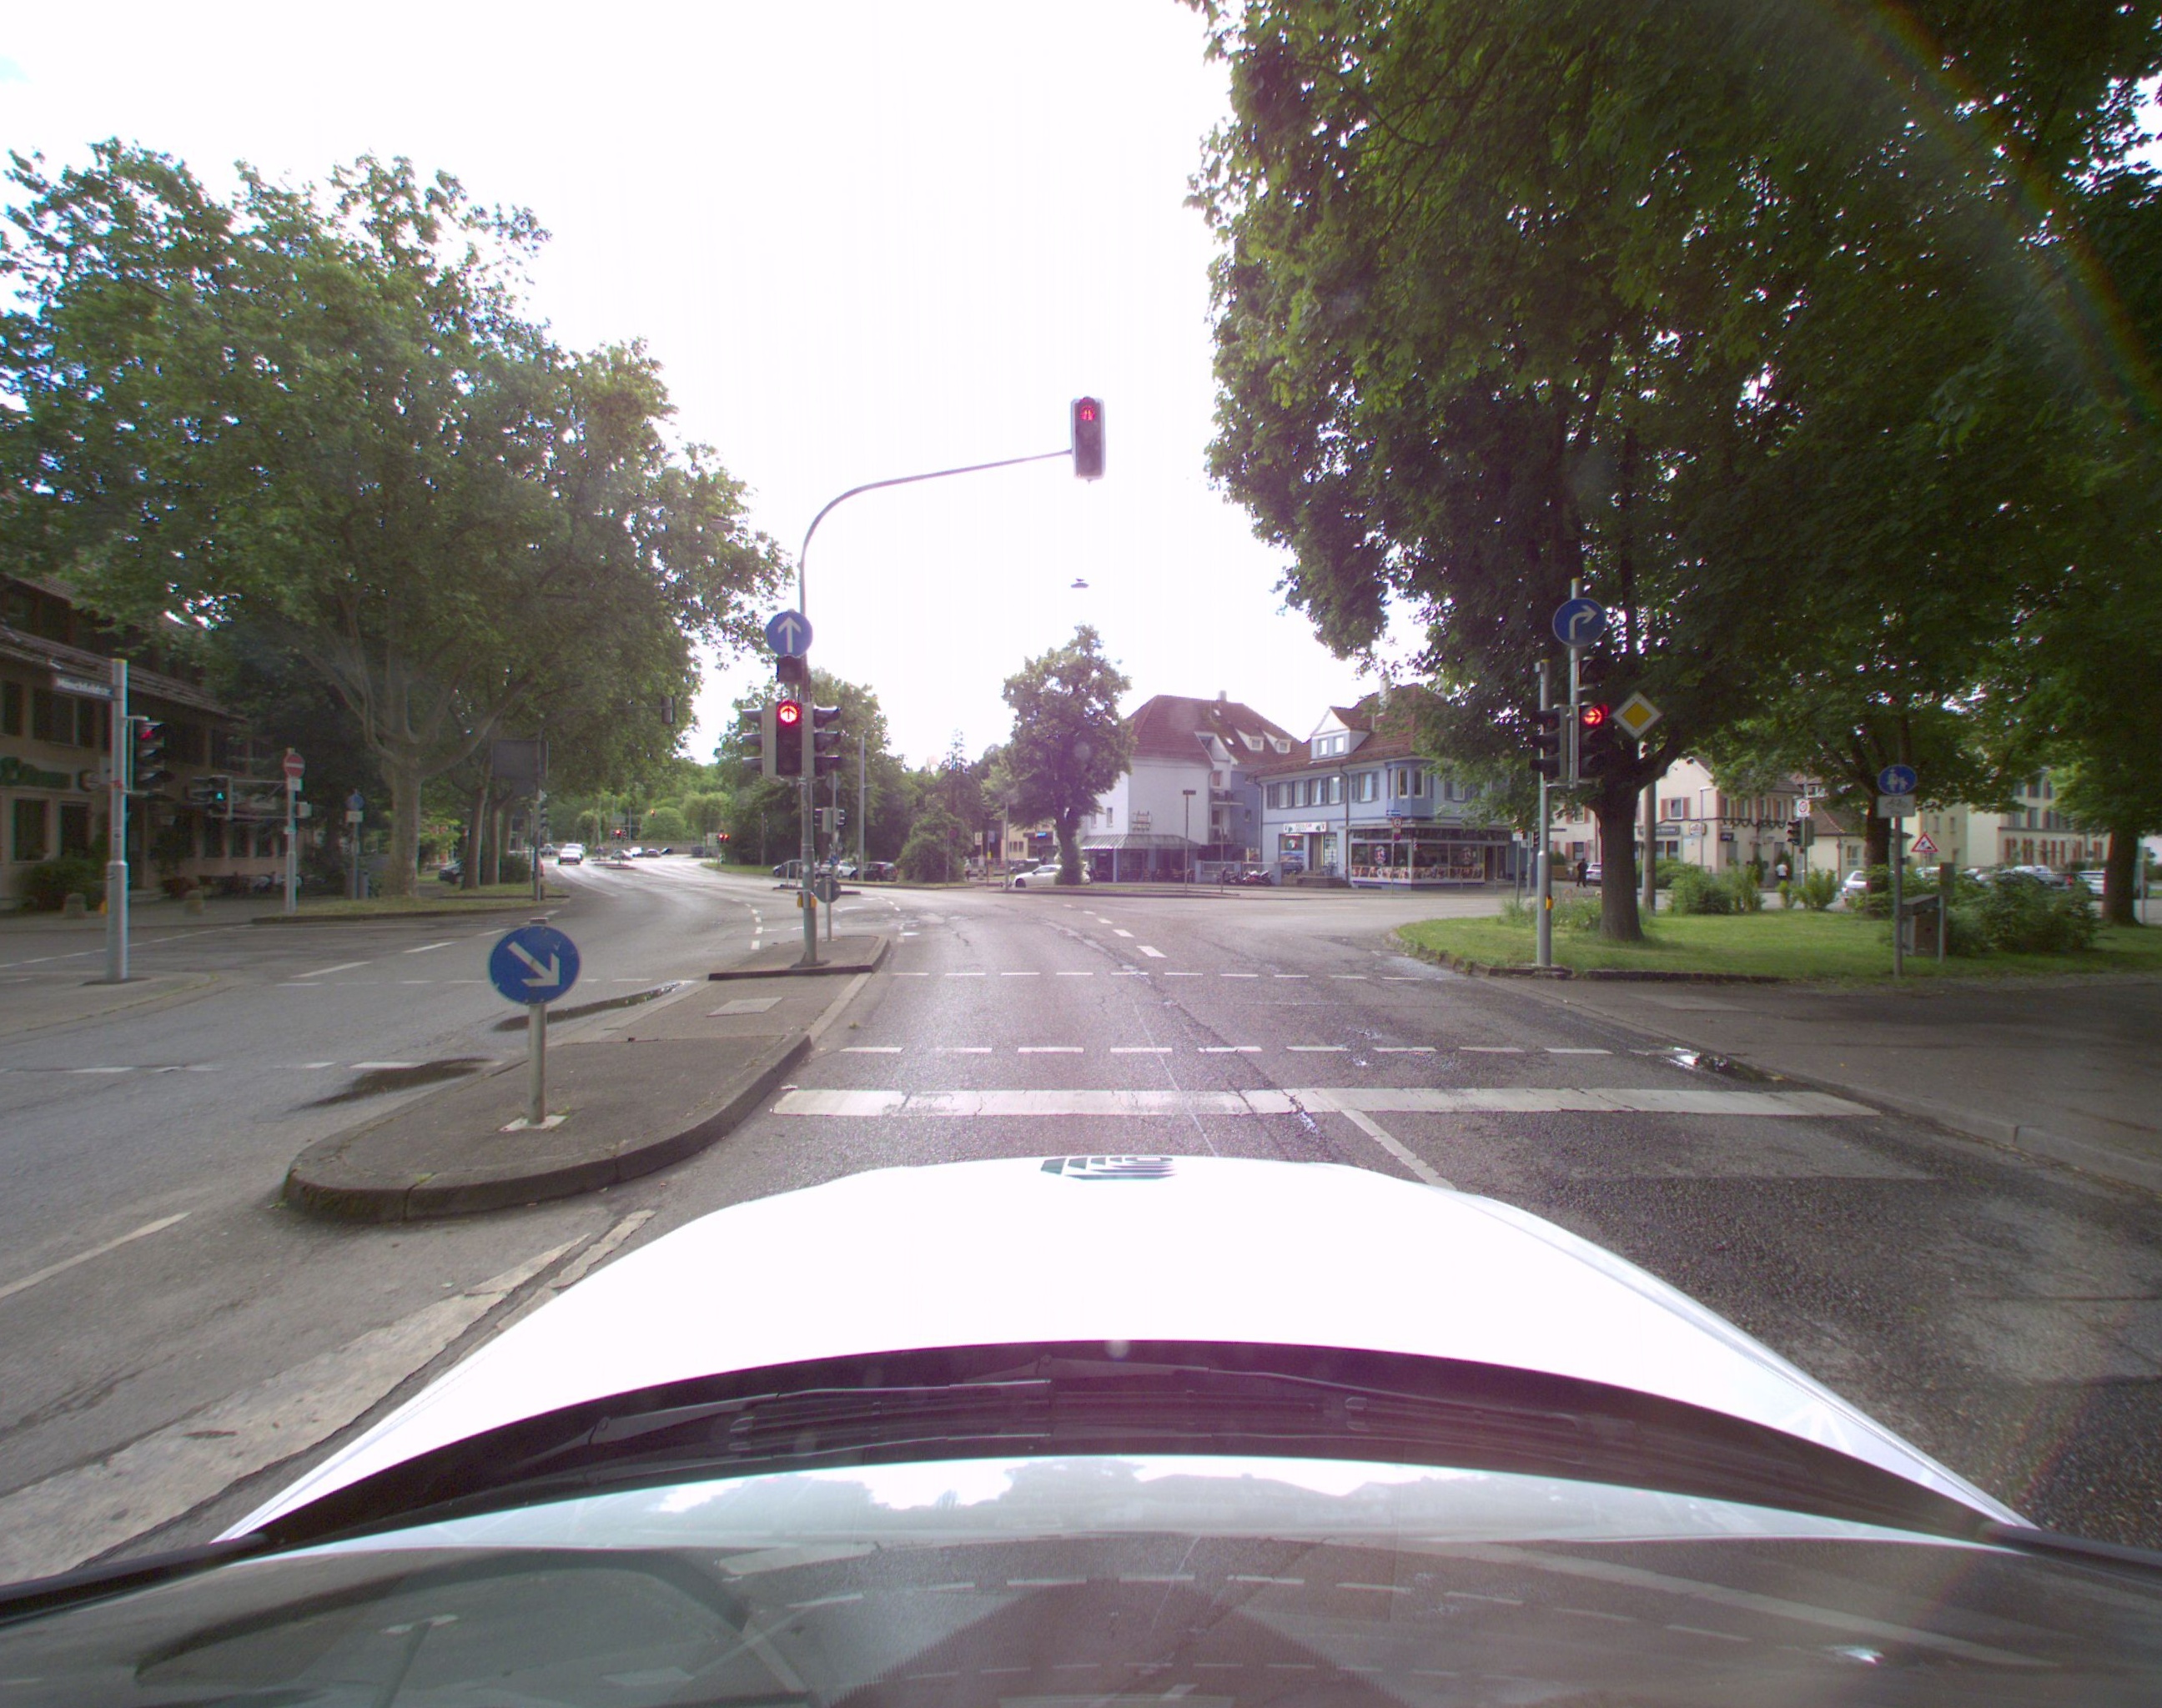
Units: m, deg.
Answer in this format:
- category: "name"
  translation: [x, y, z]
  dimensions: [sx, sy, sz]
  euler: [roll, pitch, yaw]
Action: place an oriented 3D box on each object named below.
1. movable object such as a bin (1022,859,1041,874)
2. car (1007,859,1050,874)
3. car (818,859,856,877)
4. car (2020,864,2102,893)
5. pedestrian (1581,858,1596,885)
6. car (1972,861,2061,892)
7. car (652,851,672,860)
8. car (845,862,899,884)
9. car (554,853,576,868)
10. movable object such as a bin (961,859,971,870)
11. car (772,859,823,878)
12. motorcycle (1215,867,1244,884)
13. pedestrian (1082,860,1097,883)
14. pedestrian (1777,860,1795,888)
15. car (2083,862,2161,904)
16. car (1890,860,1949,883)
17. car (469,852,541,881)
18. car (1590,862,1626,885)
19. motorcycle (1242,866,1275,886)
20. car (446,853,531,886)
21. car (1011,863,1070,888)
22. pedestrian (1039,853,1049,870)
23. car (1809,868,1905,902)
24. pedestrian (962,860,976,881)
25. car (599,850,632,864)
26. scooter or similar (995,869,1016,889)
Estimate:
- category: "movable object such as a bin"
  translation: [-4.522, 1.136, 74.246]
  dimensions: [1.447, 1.409, 0.959]
  euler: [0, -1, -25]
- category: "car"
  translation: [-4.880, 1.137, 76.153]
  dimensions: [3.752, 1.345, 1.422]
  euler: [0, 0, -25]
- category: "car"
  translation: [-20.078, 1.132, 67.183]
  dimensions: [1.534, 1.464, 3.407]
  euler: [0, 0, 13]
- category: "car"
  translation: [47.007, 1.170, 39.059]
  dimensions: [3.511, 1.321, 1.549]
  euler: [0, 0, -22]
- category: "pedestrian"
  translation: [28.966, 0.996, 46.522]
  dimensions: [0.462, 1.517, 0.581]
  euler: [0, -1, -38]
- category: "car"
  translation: [42.219, 0.979, 36.751]
  dimensions: [3.510, 1.321, 1.549]
  euler: [0, 0, -21]
- category: "car"
  translation: [-95.503, 0.438, 185.595]
  dimensions: [4.011, 2.014, 1.981]
  euler: [0, -1, -29]
- category: "car"
  translation: [-13.904, 1.268, 54.202]
  dimensions: [3.549, 1.394, 1.481]
  euler: [0, -1, 34]
- category: "car"
  translation: [-49.429, 0.641, 78.041]
  dimensions: [1.440, 1.416, 2.838]
  euler: [0, -1, -39]
- category: "movable object such as a bin"
  translation: [-12.221, 1.122, 86.636]
  dimensions: [0.953, 1.115, 0.381]
  euler: [0, -1, -19]
- category: "car"
  translation: [-22.436, 1.116, 64.481]
  dimensions: [3.520, 1.464, 1.591]
  euler: [0, 0, 14]
- category: "motorcycle"
  translation: [9.116, 1.316, 50.075]
  dimensions: [0.699, 1.064, 1.617]
  euler: [0, -1, -44]
- category: "pedestrian"
  translation: [0.579, 1.175, 55.610]
  dimensions: [0.759, 1.545, 0.682]
  euler: [-1, -1, 41]
- category: "pedestrian"
  translation: [41.910, 1.187, 48.416]
  dimensions: [0.611, 1.649, 0.606]
  euler: [0, -1, -27]
- category: "car"
  translation: [52.834, 1.438, 41.126]
  dimensions: [4.004, 2.014, 1.770]
  euler: [0, -1, -23]
- category: "car"
  translation: [55.118, 1.130, 53.530]
  dimensions: [4.007, 1.420, 1.544]
  euler: [0, 0, -26]
- category: "car"
  translation: [-35.481, 0.758, 50.278]
  dimensions: [3.461, 1.742, 1.557]
  euler: [0, -1, -31]
- category: "car"
  translation: [32.605, 1.187, 50.340]
  dimensions: [1.481, 1.369, 3.198]
  euler: [-1, -1, 40]
- category: "motorcycle"
  translation: [10.538, 1.290, 48.261]
  dimensions: [1.777, 1.121, 0.699]
  euler: [0, -1, 40]
- category: "car"
  translation: [-30.998, 0.785, 42.713]
  dimensions: [3.461, 1.641, 1.557]
  euler: [0, -1, -31]
- category: "car"
  translation: [-2.305, 1.204, 46.236]
  dimensions: [3.134, 1.354, 1.448]
  euler: [0, -1, 36]
- category: "pedestrian"
  translation: [-3.524, 0.711, 78.231]
  dimensions: [0.681, 1.545, 0.701]
  euler: [0, -1, -32]
- category: "car"
  translation: [31.966, 1.254, 33.567]
  dimensions: [3.511, 1.321, 1.549]
  euler: [0, 0, -22]
- category: "pedestrian"
  translation: [-8.232, 1.217, 59.914]
  dimensions: [0.699, 1.545, 0.682]
  euler: [-1, -1, 42]
- category: "car"
  translation: [-69.635, 0.501, 121.840]
  dimensions: [3.993, 2.014, 1.855]
  euler: [0, -1, -14]
- category: "scooter or similar"
  translation: [-3.974, 1.292, 42.879]
  dimensions: [0.413, 1.011, 1.575]
  euler: [-1, -1, 22]
